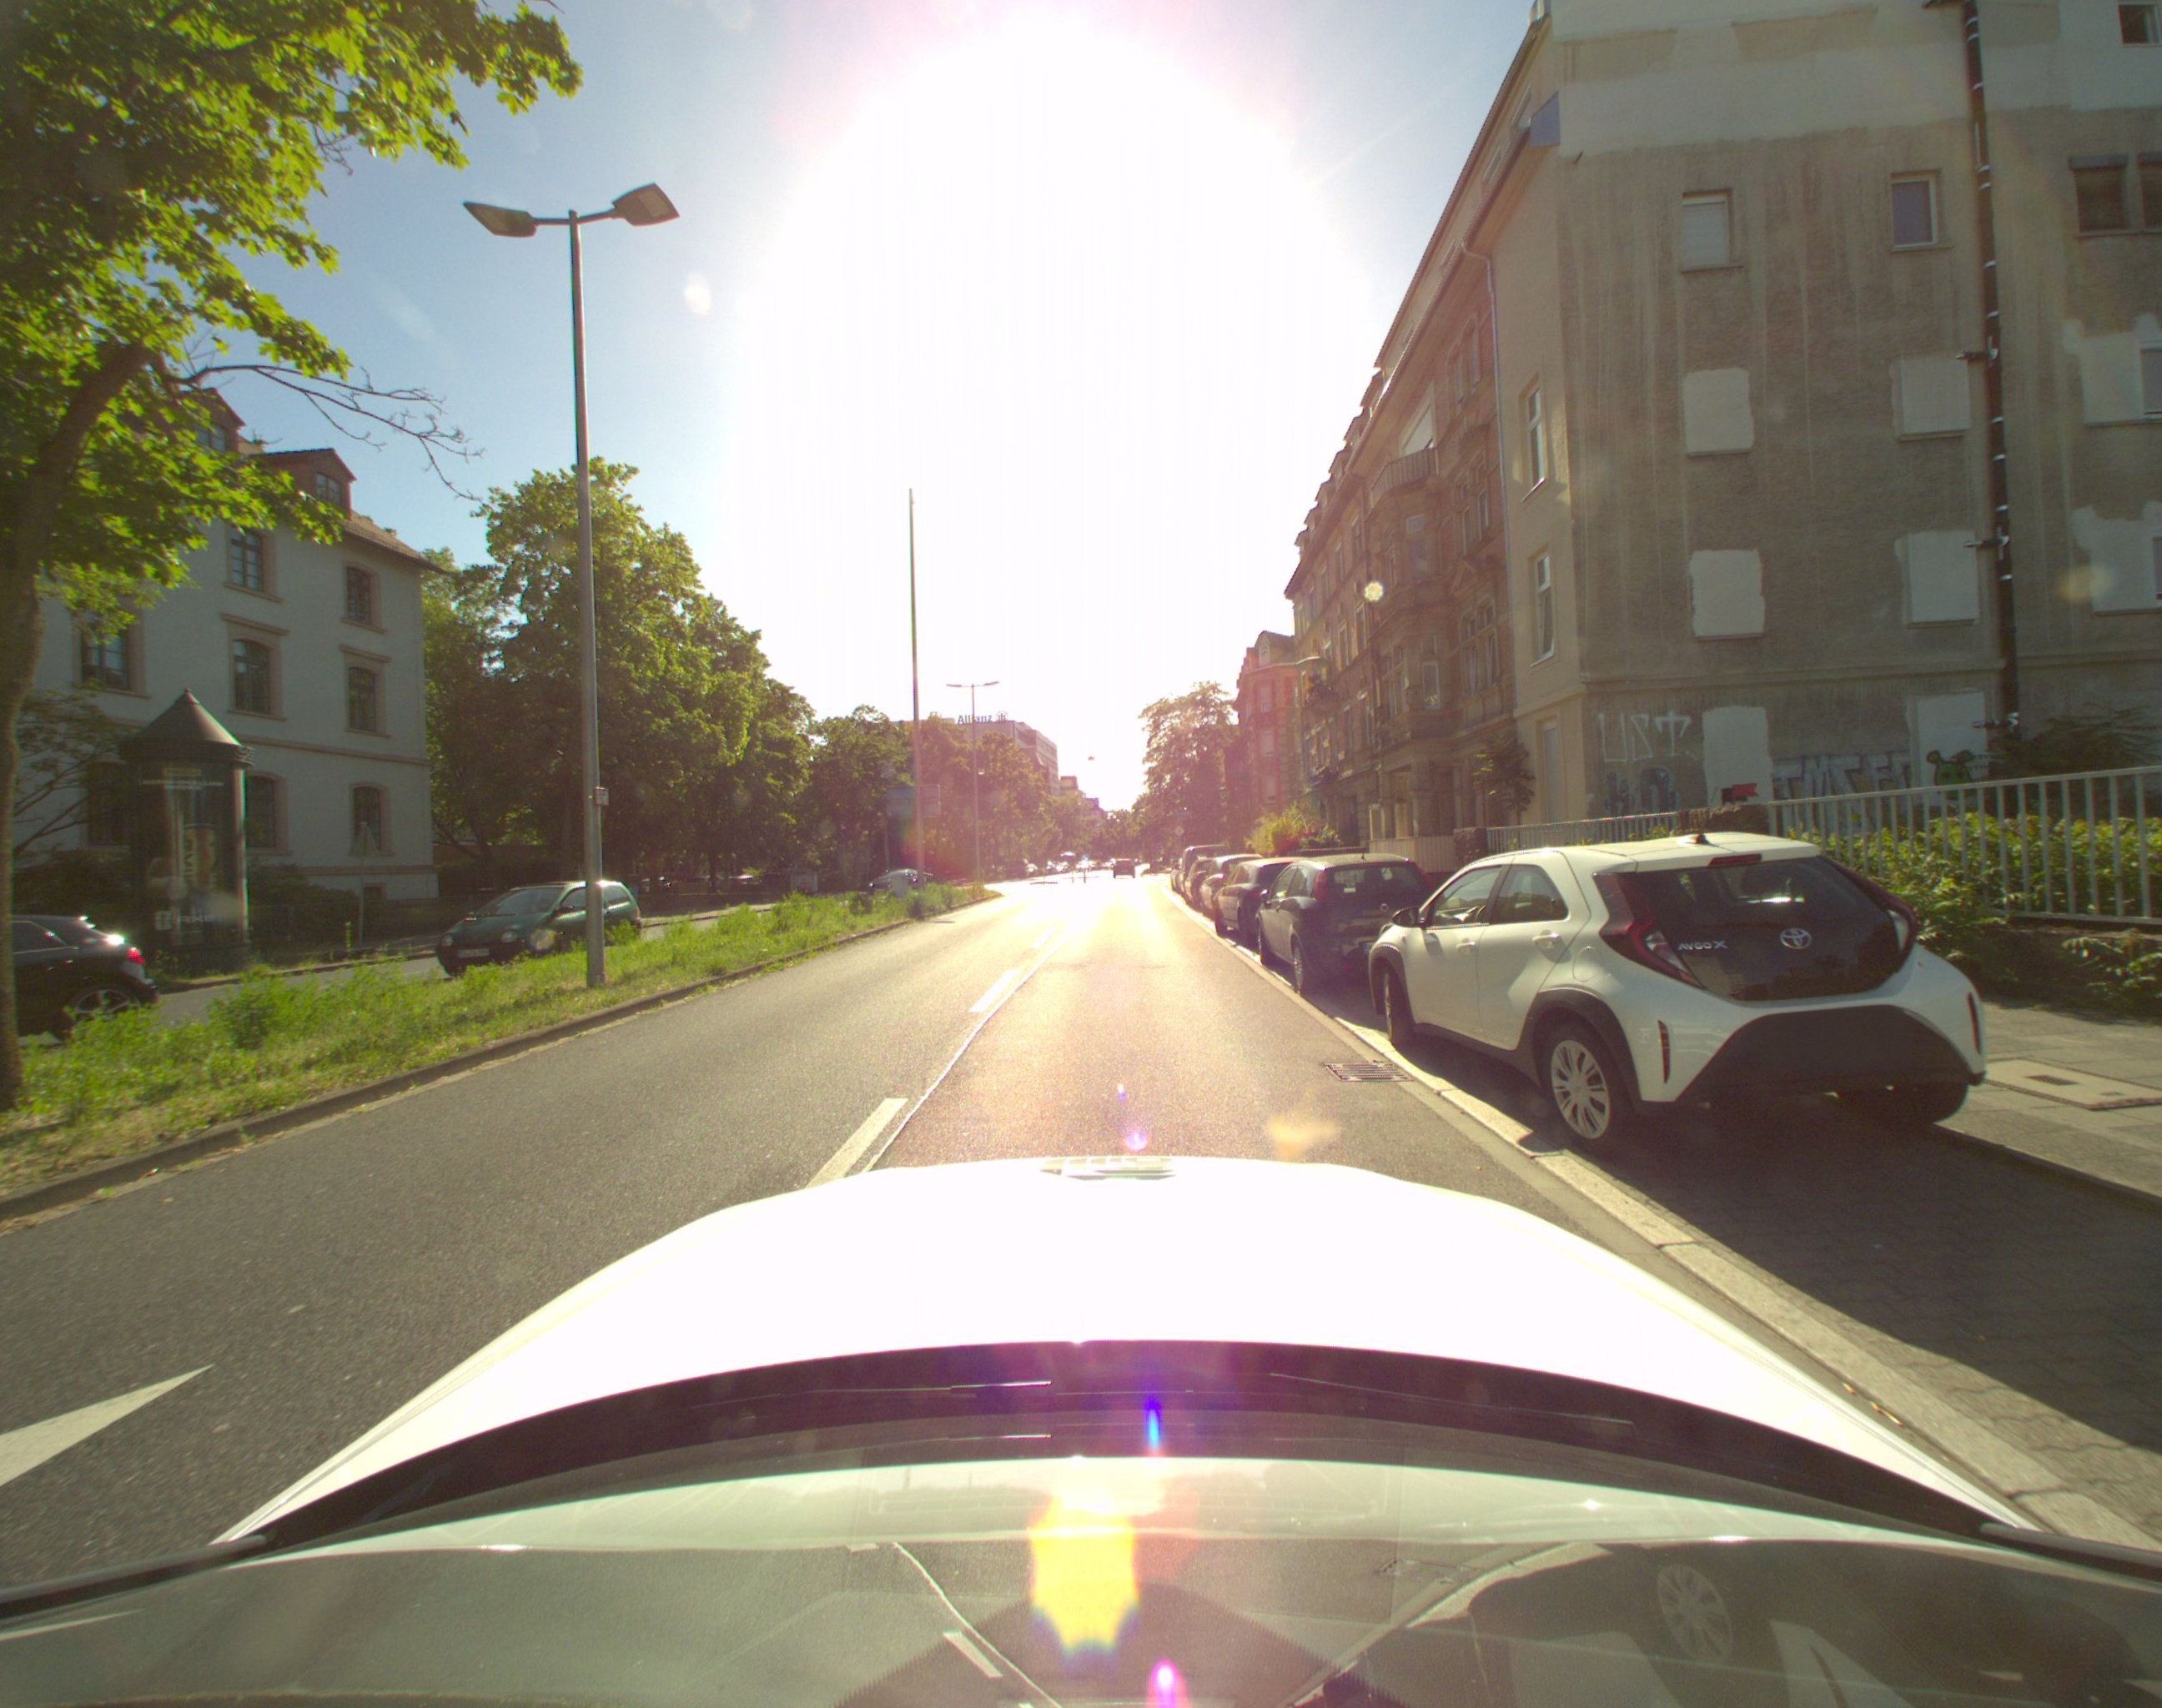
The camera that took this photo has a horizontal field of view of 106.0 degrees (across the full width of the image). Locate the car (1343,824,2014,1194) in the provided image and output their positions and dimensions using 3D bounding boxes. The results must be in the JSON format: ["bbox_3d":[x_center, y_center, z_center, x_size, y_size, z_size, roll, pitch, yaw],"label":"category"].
[{"bbox_3d":[3.201,0.676,5.381,1.663,1.519,3.659,-3,0,-1],"label":"car"}]

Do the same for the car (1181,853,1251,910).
[{"bbox_3d":[3.904,0.746,24.108,1.660,1.468,4.280,-3,0,5],"label":"car"}]

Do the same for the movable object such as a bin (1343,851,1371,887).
[{"bbox_3d":[9.337,0.513,27.557,0.719,1.157,0.609,-1,-4,4],"label":"movable object such as a bin"}]

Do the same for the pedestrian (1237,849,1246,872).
[{"bbox_3d":[12.813,0.508,64.977,0.652,1.816,0.753,-2,-4,7],"label":"pedestrian"}]

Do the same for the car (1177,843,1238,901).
[{"bbox_3d":[4.465,0.610,29.345,1.810,1.844,4.370,-3,0,5],"label":"car"}]

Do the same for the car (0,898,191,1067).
[{"bbox_3d":[-11.000,1.268,7.111,1.788,1.519,4.090,-4,-2,3],"label":"car"}]

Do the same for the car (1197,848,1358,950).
[{"bbox_3d":[3.428,0.712,15.127,1.928,1.519,4.485,-3,0,1],"label":"car"}]

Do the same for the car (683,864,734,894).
[{"bbox_3d":[-31.883,2.182,69.899,1.838,2.324,4.988,-1,-4,3],"label":"car"}]

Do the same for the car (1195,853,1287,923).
[{"bbox_3d":[3.802,0.756,19.837,1.615,1.470,3.300,-3,0,2],"label":"car"}]

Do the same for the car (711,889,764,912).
[{"bbox_3d":[-23.763,3.217,56.477,1.838,1.491,4.002,-1,-3,3],"label":"car"}]

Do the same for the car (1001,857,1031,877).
[{"bbox_3d":[-6.643,1.328,83.279,2.188,1.929,4.869,-2,0,5],"label":"car"}]

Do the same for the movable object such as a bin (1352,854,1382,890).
[{"bbox_3d":[9.319,0.595,26.557,0.755,1.157,0.609,-1,-4,4],"label":"movable object such as a bin"}]

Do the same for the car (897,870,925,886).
[{"bbox_3d":[-19.277,2.676,92.025,1.987,1.662,3.963,-2,0,-29],"label":"car"}]

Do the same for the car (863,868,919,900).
[{"bbox_3d":[-9.993,1.530,43.160,1.789,1.519,4.424,-1,0,1],"label":"car"}]

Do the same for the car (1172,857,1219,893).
[{"bbox_3d":[4.832,0.853,34.727,1.701,1.425,4.211,-1,0,4],"label":"car"}]

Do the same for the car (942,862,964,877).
[{"bbox_3d":[-15.307,1.809,96.919,1.980,1.662,3.976,-2,0,-18],"label":"car"}]

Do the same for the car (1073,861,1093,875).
[{"bbox_3d":[0.273,1.754,103.660,1.748,1.519,3.870,-4,0,10],"label":"car"}]

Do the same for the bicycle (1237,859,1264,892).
[{"bbox_3d":[6.836,0.860,32.874,0.737,1.219,1.962,-5,-1,4],"label":"bicycle"}]

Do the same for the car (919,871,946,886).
[{"bbox_3d":[-17.455,2.836,95.444,1.986,1.662,3.964,-2,0,-27],"label":"car"}]

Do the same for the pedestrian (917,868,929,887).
[{"bbox_3d":[-13.750,2.023,70.959,0.662,1.626,0.720,-3,-1,36],"label":"pedestrian"}]

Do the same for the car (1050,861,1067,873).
[{"bbox_3d":[-2.901,1.710,104.407,1.514,1.432,3.346,-2,0,10],"label":"car"}]

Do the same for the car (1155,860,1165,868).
[{"bbox_3d":[17.137,2.107,175.526,1.909,1.640,4.009,-3,0,8],"label":"car"}]

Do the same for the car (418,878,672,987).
[{"bbox_3d":[-9.351,1.280,14.701,1.632,1.519,4.259,-3,-1,1],"label":"car"}]

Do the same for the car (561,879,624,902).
[{"bbox_3d":[-34.229,2.575,57.198,1.838,1.491,4.002,-1,-3,3],"label":"car"}]

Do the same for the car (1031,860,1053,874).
[{"bbox_3d":[-4.492,1.494,94.199,1.748,1.519,3.870,-2,0,10],"label":"car"}]

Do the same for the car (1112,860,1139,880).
[{"bbox_3d":[3.511,1.253,65.279,1.889,1.519,3.999,0,-1,0],"label":"car"}]

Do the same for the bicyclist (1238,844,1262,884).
[{"bbox_3d":[6.801,0.388,32.796,0.738,1.580,1.101,-1,0,4],"label":"bicyclist"}]

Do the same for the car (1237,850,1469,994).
[{"bbox_3d":[3.138,0.700,10.208,1.662,1.393,3.776,-3,0,1],"label":"car"}]
